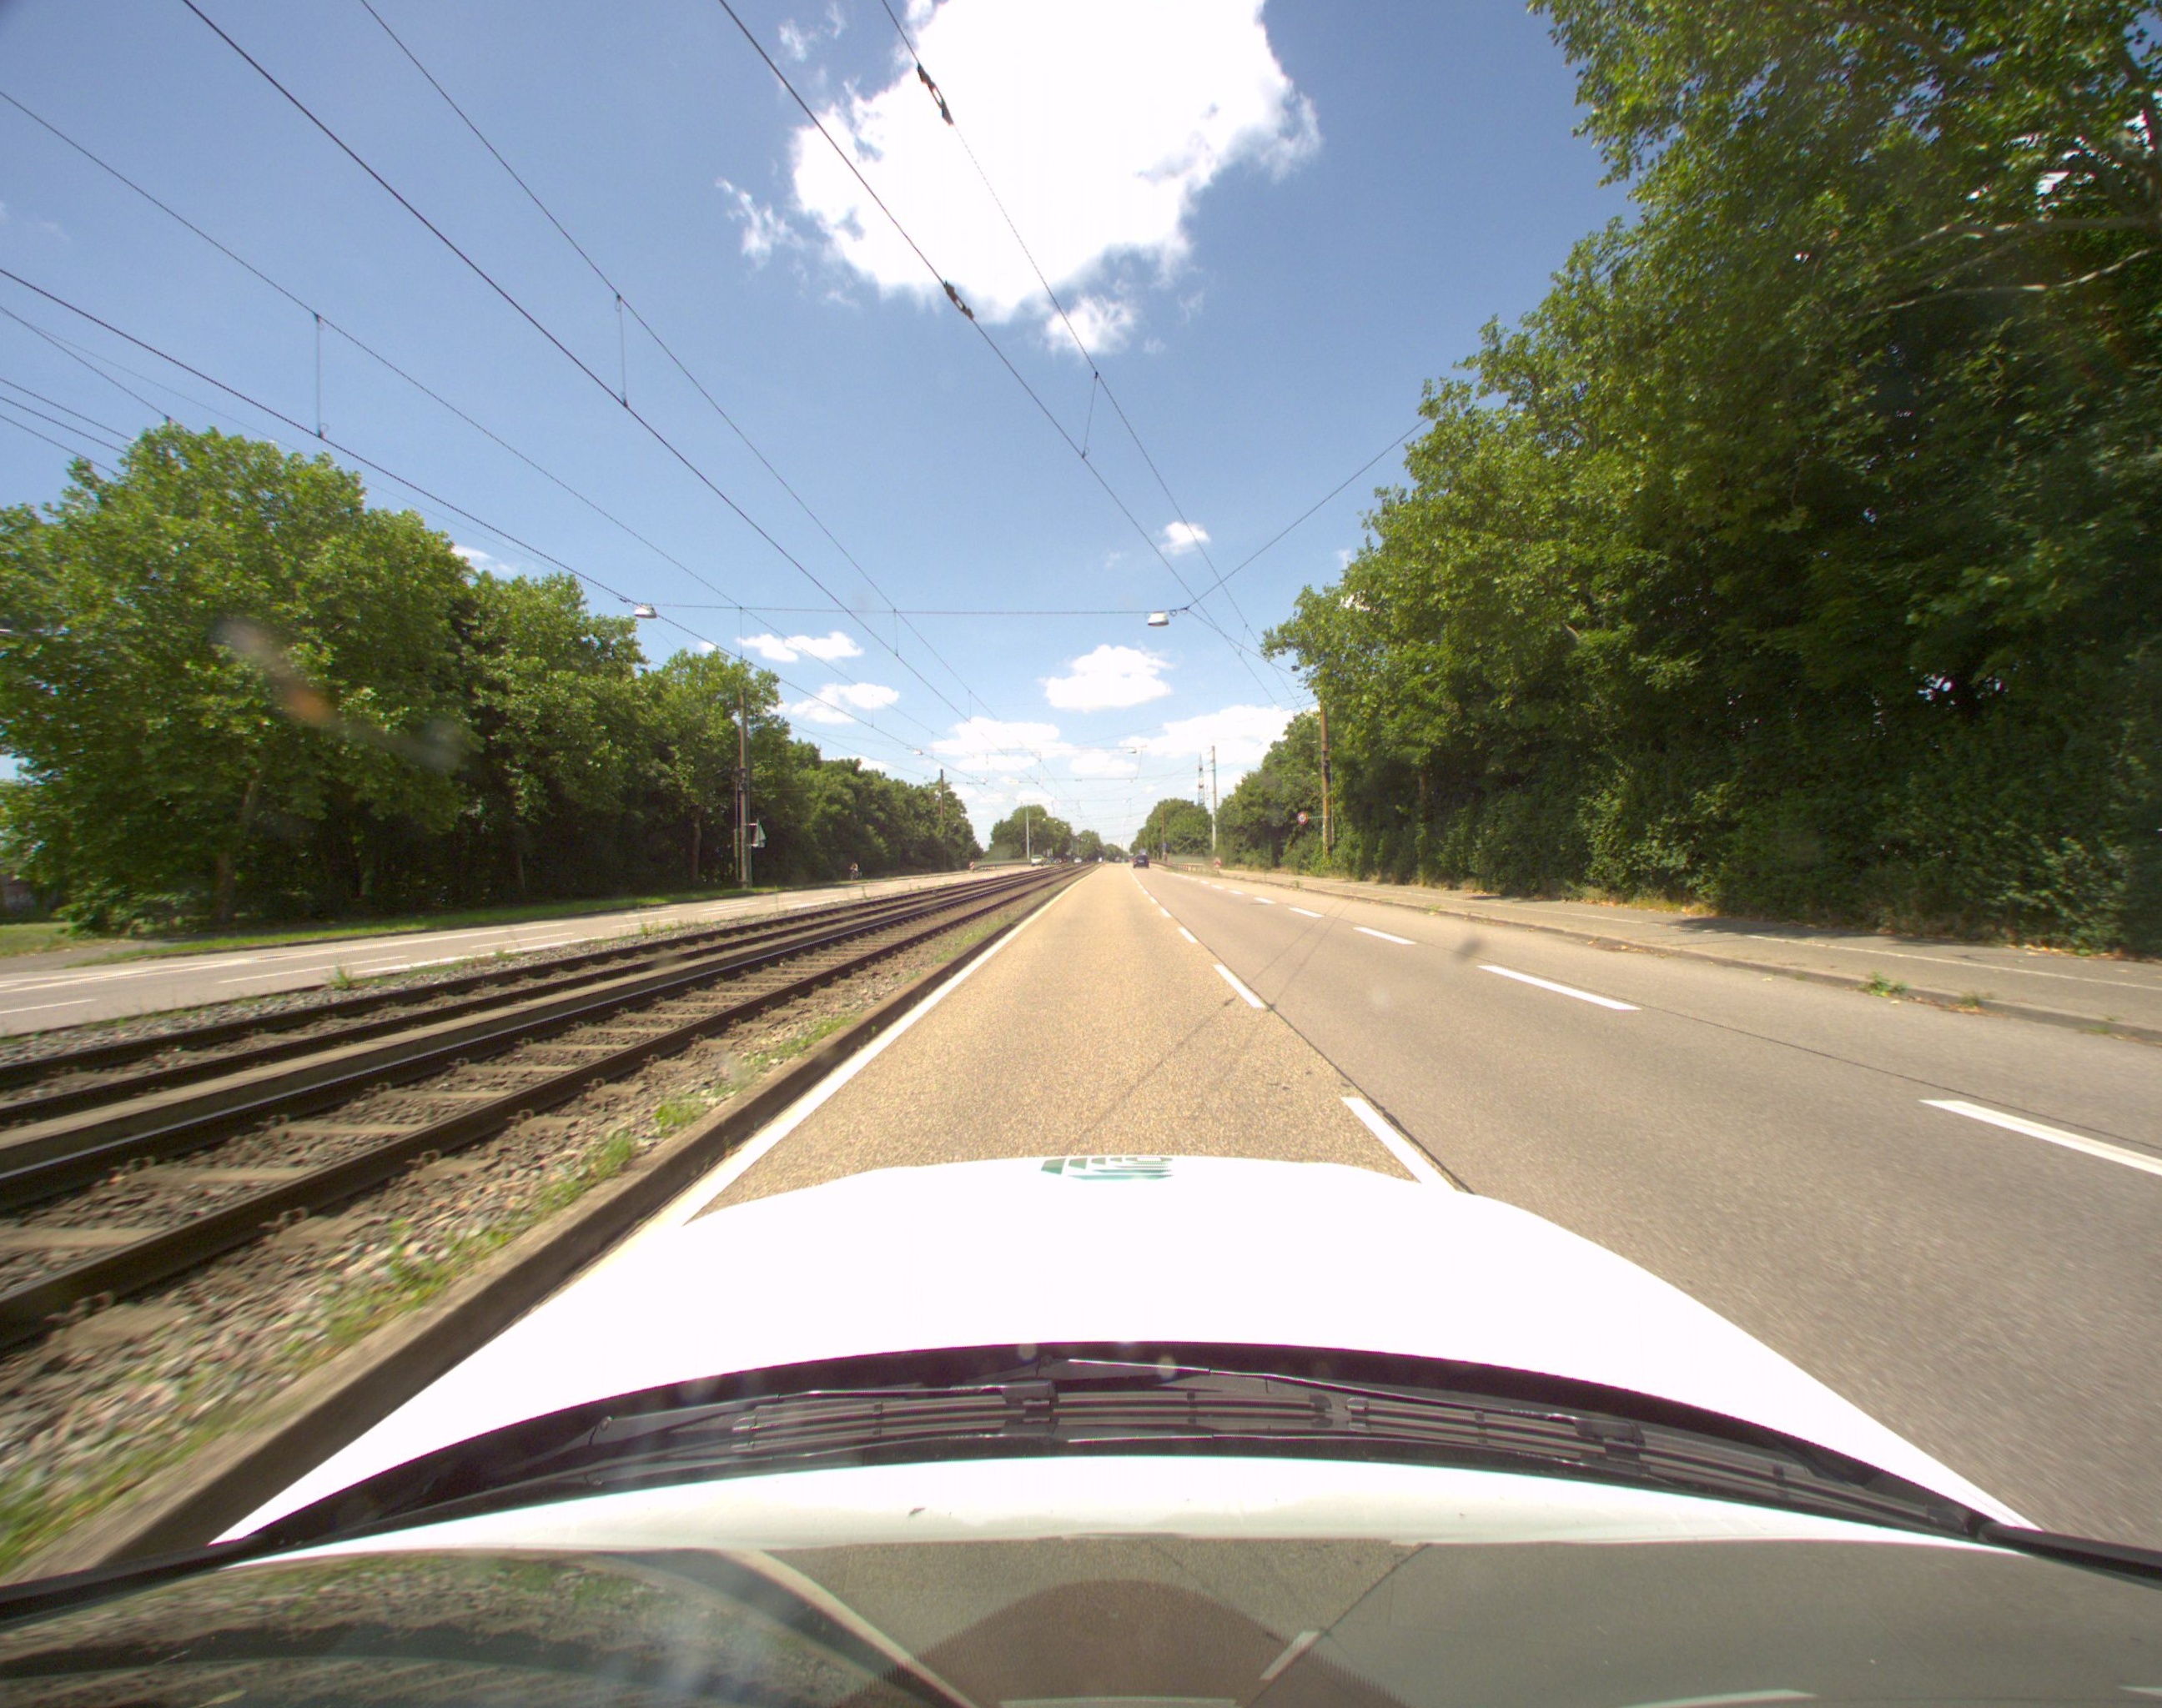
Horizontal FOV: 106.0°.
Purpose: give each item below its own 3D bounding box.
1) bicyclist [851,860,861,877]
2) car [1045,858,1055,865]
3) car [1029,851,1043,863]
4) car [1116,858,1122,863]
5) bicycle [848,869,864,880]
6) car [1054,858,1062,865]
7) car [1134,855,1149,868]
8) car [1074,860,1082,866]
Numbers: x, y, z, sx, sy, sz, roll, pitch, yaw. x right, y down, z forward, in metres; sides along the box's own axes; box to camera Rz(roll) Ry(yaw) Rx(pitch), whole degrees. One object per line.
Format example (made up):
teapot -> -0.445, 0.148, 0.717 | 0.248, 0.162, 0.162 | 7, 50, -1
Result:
bicyclist -> -18.468, 1.190, 66.787 | 0.566, 1.367, 0.632 | 0, -1, 4
car -> -6.368, 1.502, 167.656 | 1.557, 1.347, 3.932 | -2, -1, 3
car -> -7.672, 0.461, 138.332 | 1.804, 1.925, 5.183 | -2, -1, 3
car -> 12.292, 1.983, 261.866 | 1.986, 1.530, 4.002 | 0, 0, 2
bicycle -> -18.449, 1.646, 66.809 | 0.583, 0.819, 2.071 | -3, 0, 5
car -> -5.281, 1.738, 188.285 | 1.568, 1.400, 3.940 | -2, -1, 2
car -> 6.860, 0.826, 92.483 | 1.580, 1.343, 3.273 | -2, 0, 1
car -> -0.847, 2.394, 212.817 | 1.704, 1.420, 4.627 | -2, -1, 3
